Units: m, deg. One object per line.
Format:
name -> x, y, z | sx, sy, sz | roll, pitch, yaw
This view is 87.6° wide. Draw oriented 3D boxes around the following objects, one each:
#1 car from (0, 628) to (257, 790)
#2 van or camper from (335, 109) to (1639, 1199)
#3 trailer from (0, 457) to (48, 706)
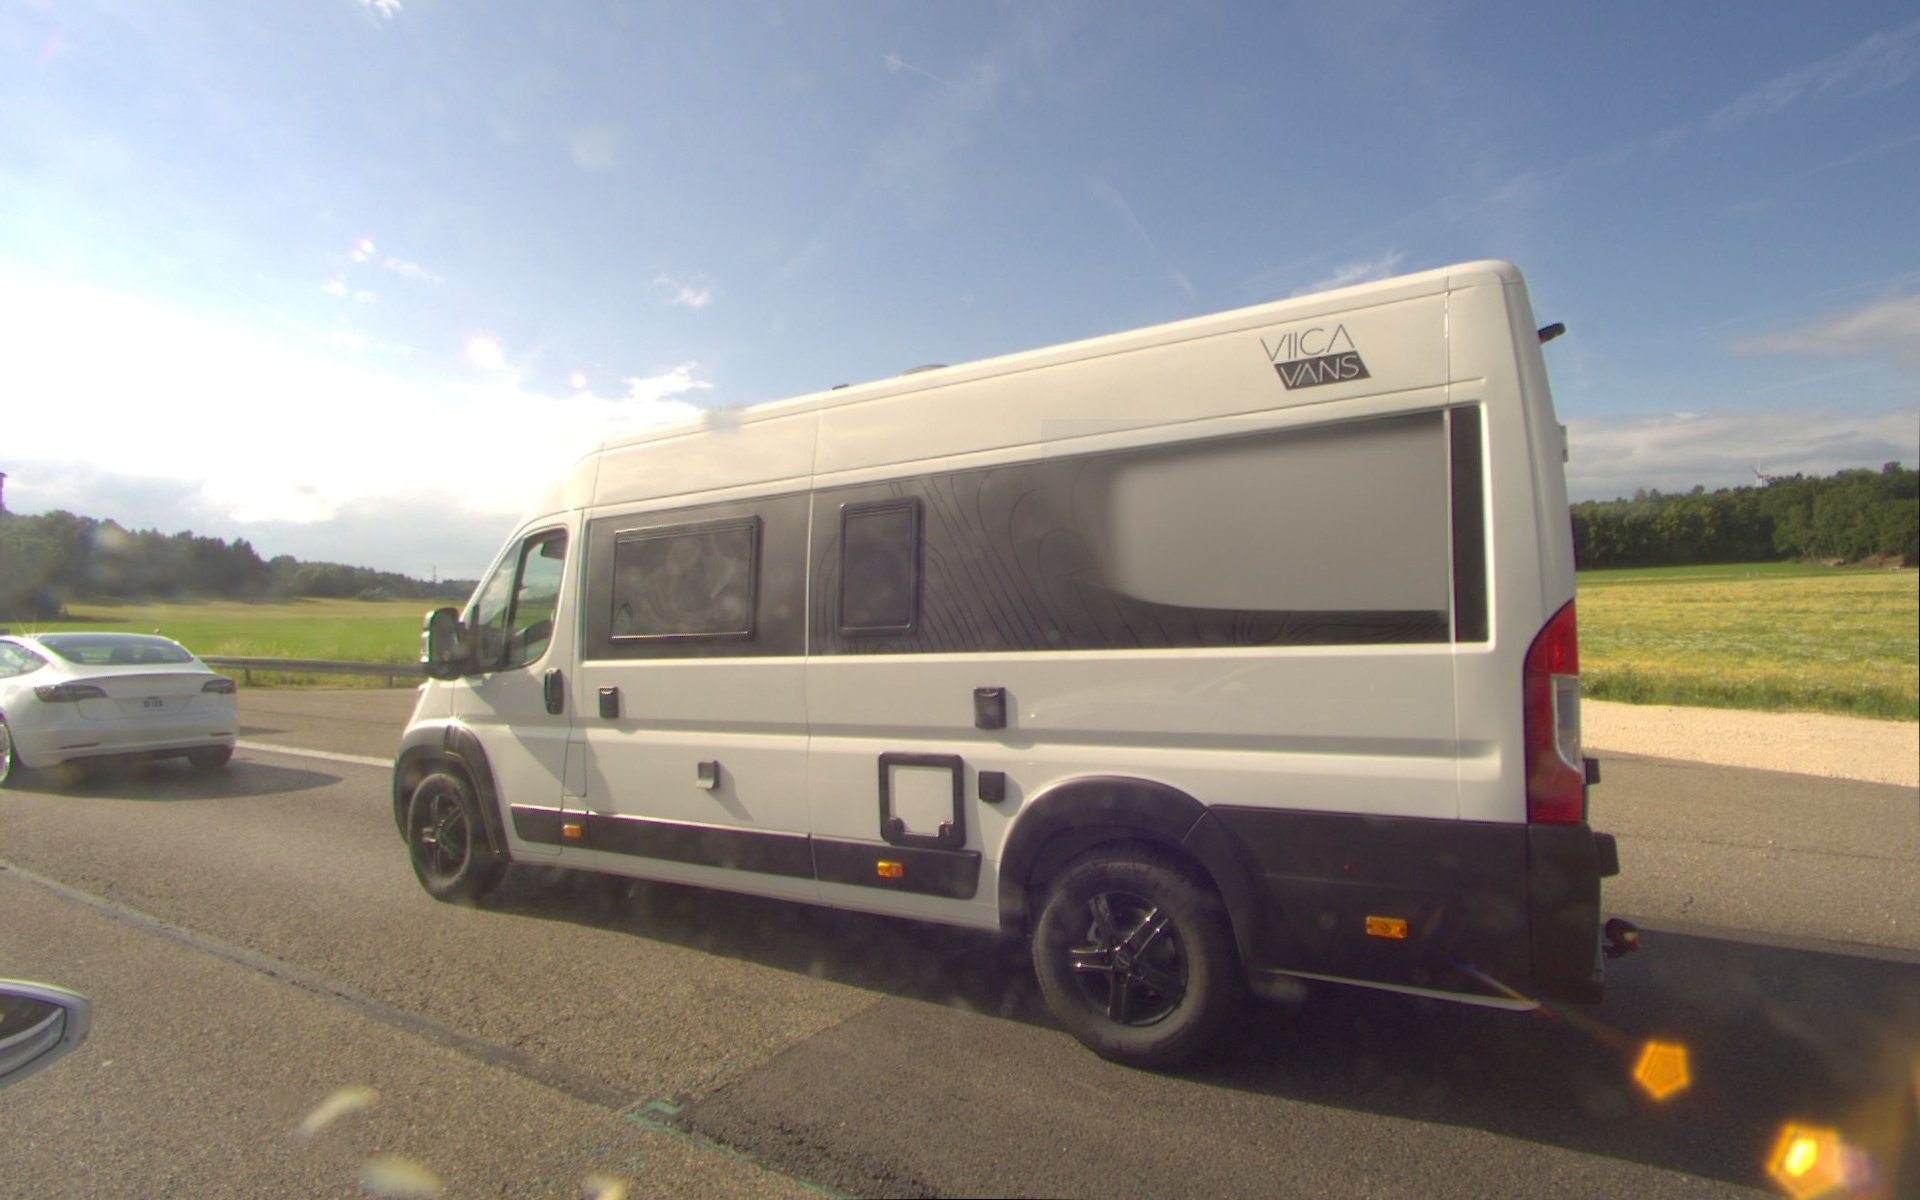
car -> -9.582, 1.012, 10.721 | 4.372, 1.412, 1.786 | -1, -1, 31
van or camper -> -0.397, 0.203, 5.094 | 6.241, 2.716, 2.211 | -1, -1, 32
trailer -> -21.657, -0.118, 19.067 | 13.181, 4.061, 3.125 | -2, -2, 33
